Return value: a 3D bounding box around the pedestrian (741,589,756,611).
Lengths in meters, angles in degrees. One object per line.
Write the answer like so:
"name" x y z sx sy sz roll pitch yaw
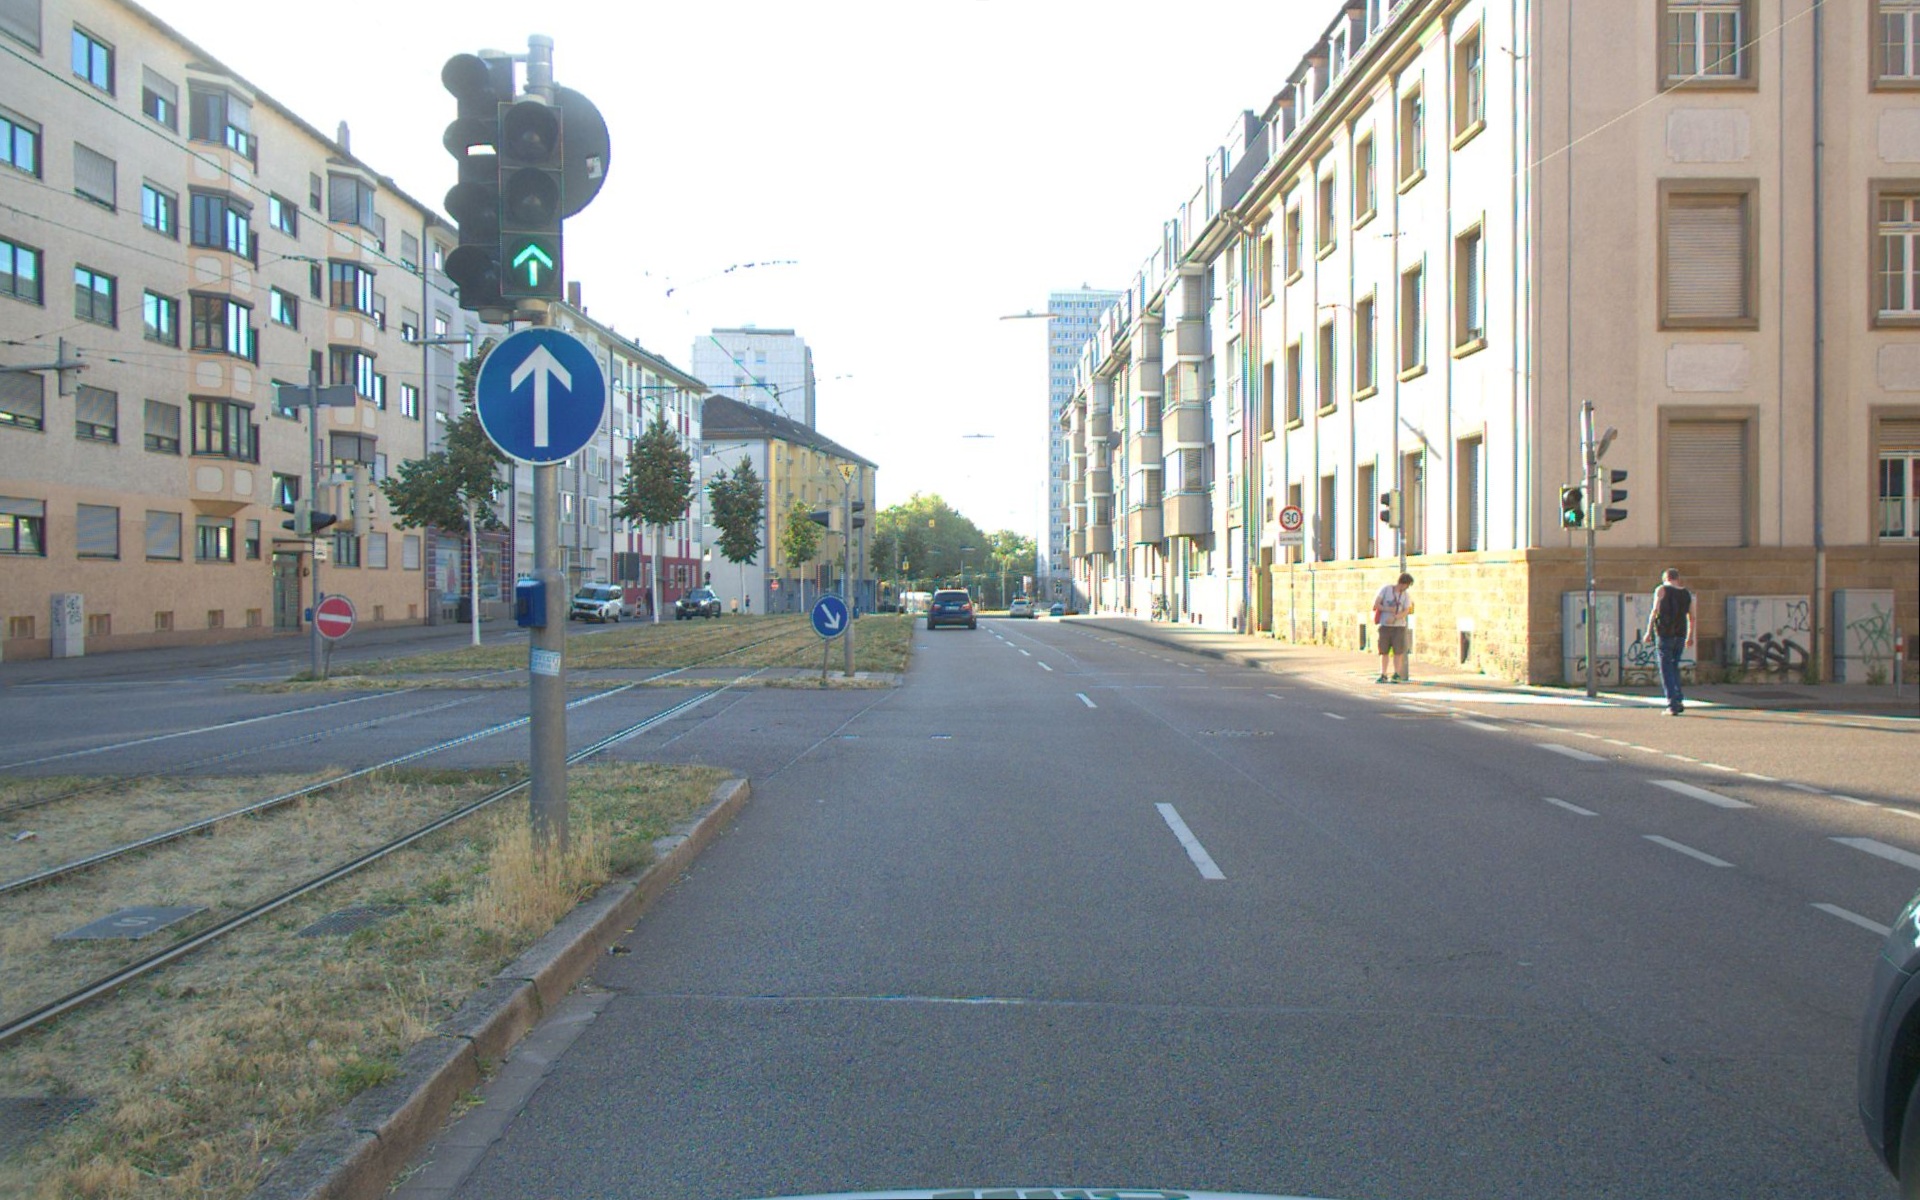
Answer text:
"pedestrian" -16.388 -0.022 128.321 0.942 1.699 1.011 1 0 4

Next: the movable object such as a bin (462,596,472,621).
"movable object such as a bin" -20.217 0.350 67.854 0.292 1.054 0.441 1 -1 -2

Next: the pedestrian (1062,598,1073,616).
"pedestrian" 7.502 0.506 115.611 0.677 1.256 0.736 1 0 -1

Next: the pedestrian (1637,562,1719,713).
"pedestrian" 8.731 0.451 20.124 0.616 1.789 0.825 1 -1 -1

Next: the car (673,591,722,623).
"car" -14.410 0.353 90.940 1.858 1.662 4.748 -1 0 1

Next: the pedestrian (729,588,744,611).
"pedestrian" -17.234 -0.038 127.769 0.942 1.723 1.011 1 0 4

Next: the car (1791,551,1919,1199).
"car" 2.865 0.722 1.855 1.663 1.580 4.225 2 0 -1

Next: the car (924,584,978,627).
"car" -0.338 0.212 60.348 1.887 1.481 4.327 1 0 -1

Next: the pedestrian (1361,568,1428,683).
"pedestrian" 6.933 0.398 26.417 0.818 1.793 0.824 1 -1 -1

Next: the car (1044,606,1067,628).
"car" 9.271 1.607 161.138 1.953 2.049 3.999 -1 0 -1

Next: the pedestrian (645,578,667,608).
"pedestrian" -18.629 -0.410 101.301 1.246 1.791 1.271 1 0 -10

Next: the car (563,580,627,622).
"car" -17.894 0.064 81.284 1.952 1.958 4.543 1 0 3

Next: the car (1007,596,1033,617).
"car" 4.771 0.504 131.317 1.952 1.591 4.000 1 0 1

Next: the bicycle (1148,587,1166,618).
"bicycle" 7.406 0.093 62.202 0.376 1.115 1.503 -1 0 -3
